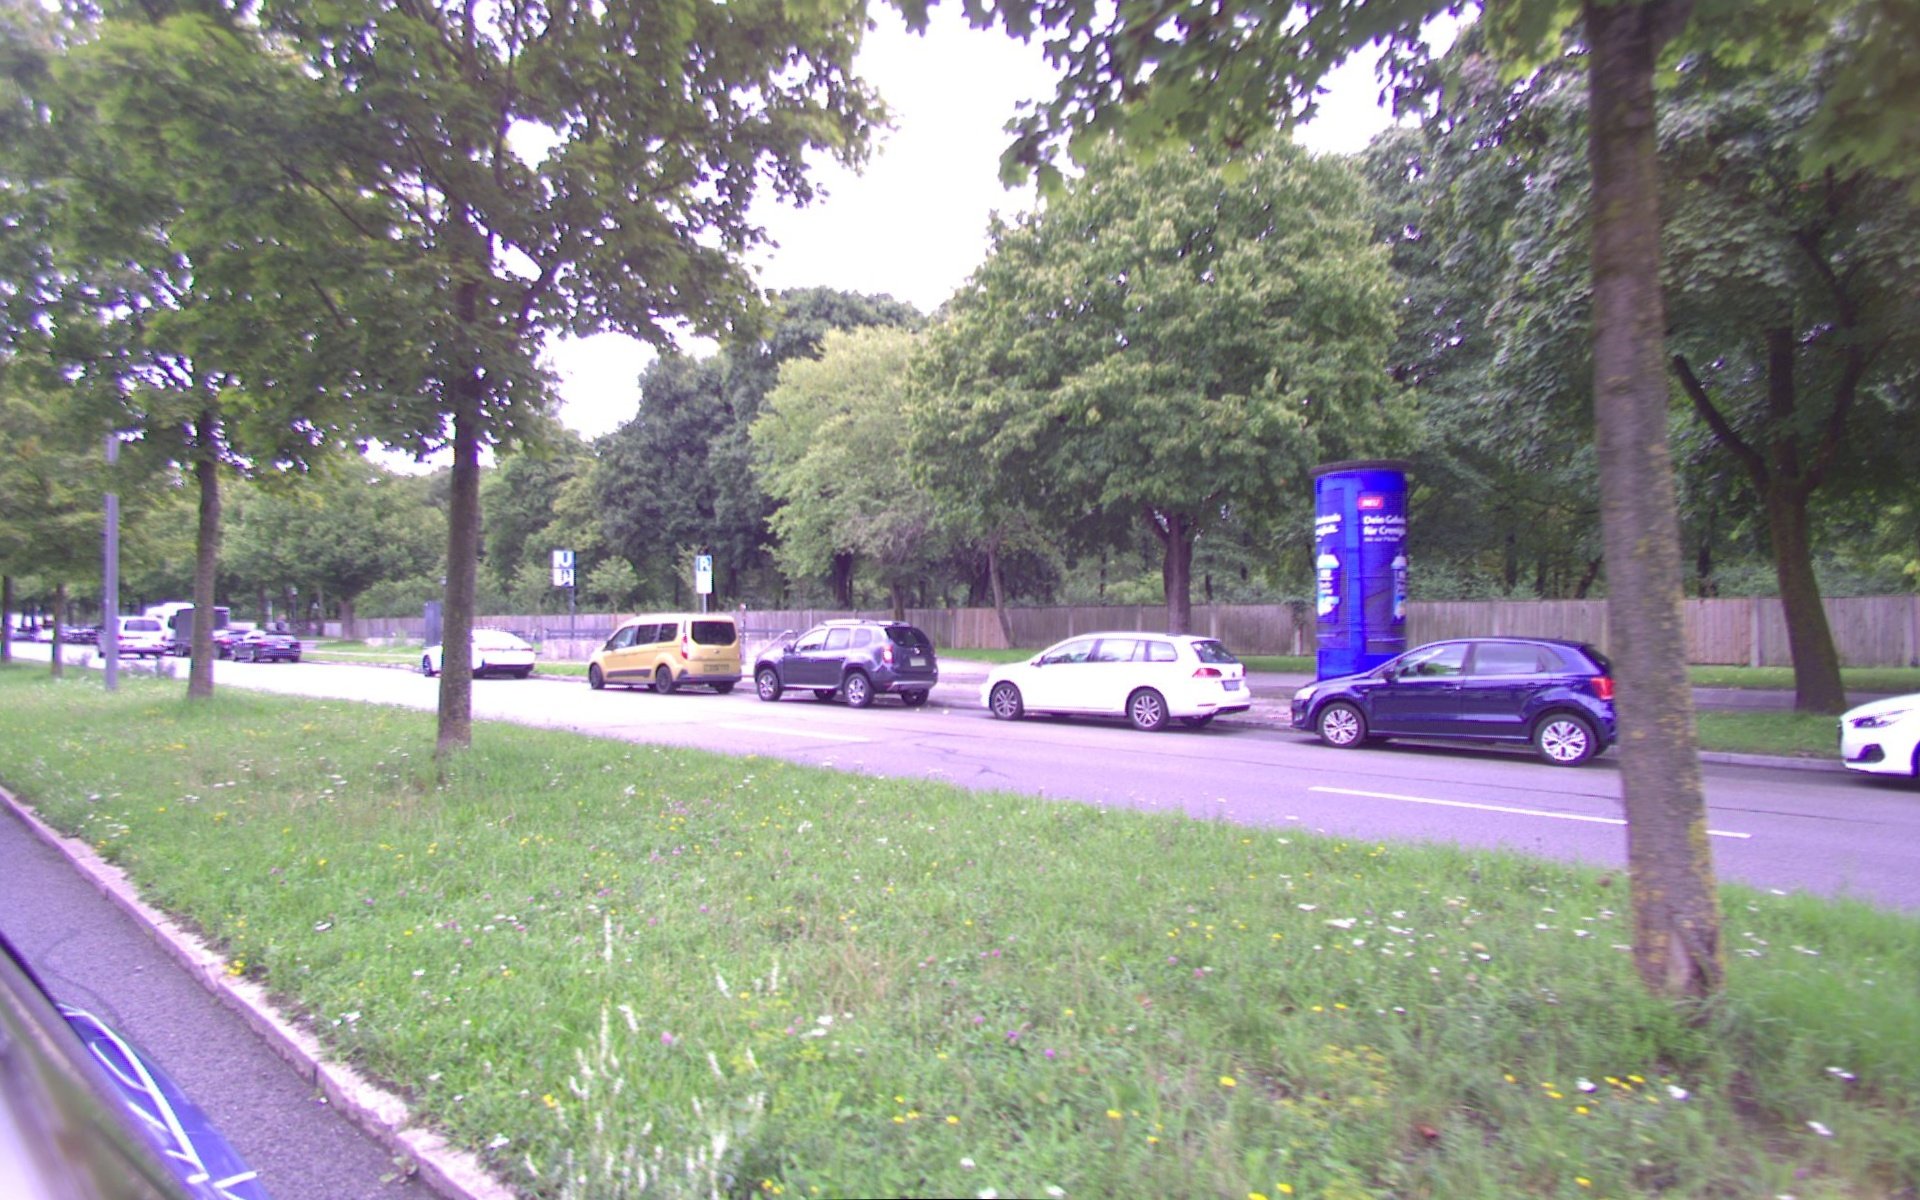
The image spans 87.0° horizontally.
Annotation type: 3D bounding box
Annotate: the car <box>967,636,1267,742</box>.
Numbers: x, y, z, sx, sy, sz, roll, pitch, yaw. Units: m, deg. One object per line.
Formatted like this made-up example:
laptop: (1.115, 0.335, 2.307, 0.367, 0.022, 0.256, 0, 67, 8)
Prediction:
car: (2.396, 1.324, 16.211, 4.529, 1.461, 1.744, -2, -4, 40)

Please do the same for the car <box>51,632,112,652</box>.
car: (-80.807, 3.835, 93.108, 1.870, 1.569, 3.990, -2, 0, 8)

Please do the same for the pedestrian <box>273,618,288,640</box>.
pedestrian: (-55.727, 2.357, 82.995, 0.872, 1.781, 0.761, -1, -3, 37)

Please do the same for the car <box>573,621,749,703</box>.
car: (-7.287, 1.450, 24.365, 4.816, 1.796, 1.795, -2, -4, 42)

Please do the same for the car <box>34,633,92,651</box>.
car: (-87.662, 4.103, 98.945, 1.870, 1.569, 3.990, -2, 0, 8)

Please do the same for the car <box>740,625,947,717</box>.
car: (-2.422, 1.376, 20.452, 4.253, 1.658, 1.719, -2, -4, 40)

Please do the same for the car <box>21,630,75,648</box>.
car: (-95.033, 4.036, 105.524, 1.760, 1.741, 3.992, -1, 0, 6)

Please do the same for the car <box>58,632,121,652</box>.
car: (-78.490, 3.812, 91.313, 1.870, 1.569, 3.990, -2, 0, 8)

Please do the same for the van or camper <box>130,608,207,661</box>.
van or camper: (-44.914, 1.976, 57.344, 7.543, 2.859, 2.014, -2, -4, 41)

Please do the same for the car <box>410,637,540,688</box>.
car: (-15.209, 1.904, 31.629, 4.871, 1.484, 1.838, -2, -4, 40)

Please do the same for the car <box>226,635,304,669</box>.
car: (-31.087, 2.313, 45.215, 4.429, 1.436, 1.781, -2, -4, 41)

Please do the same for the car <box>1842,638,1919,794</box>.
car: (10.685, 1.071, 8.960, 4.277, 1.455, 1.590, -2, -4, 41)

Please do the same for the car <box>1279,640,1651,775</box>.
car: (6.180, 1.223, 12.615, 3.893, 1.428, 1.597, -2, -3, 39)

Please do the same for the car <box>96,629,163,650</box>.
car: (-68.750, 3.248, 83.871, 1.873, 1.474, 3.983, -2, 0, 13)

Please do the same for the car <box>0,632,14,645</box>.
car: (-113.228, 4.585, 119.684, 1.864, 1.454, 4.171, 0, -1, -45)

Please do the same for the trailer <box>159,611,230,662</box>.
trailer: (-40.323, 1.938, 53.292, 4.656, 2.610, 1.995, -2, -4, 41)

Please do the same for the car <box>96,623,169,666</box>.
car: (-39.525, 2.095, 48.303, 4.990, 1.948, 1.781, -1, -3, 40)

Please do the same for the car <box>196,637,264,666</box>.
car: (-35.755, 2.500, 49.534, 4.236, 1.394, 1.781, -2, -4, 41)

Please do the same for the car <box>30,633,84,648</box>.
car: (-90.135, 4.057, 101.066, 1.574, 1.376, 3.987, -1, 0, 10)

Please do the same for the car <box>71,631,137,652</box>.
car: (-73.775, 3.528, 87.267, 1.873, 1.569, 3.983, -2, 0, 13)

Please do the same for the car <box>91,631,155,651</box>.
car: (-71.008, 3.454, 85.912, 1.723, 1.466, 3.983, -2, 0, 13)
